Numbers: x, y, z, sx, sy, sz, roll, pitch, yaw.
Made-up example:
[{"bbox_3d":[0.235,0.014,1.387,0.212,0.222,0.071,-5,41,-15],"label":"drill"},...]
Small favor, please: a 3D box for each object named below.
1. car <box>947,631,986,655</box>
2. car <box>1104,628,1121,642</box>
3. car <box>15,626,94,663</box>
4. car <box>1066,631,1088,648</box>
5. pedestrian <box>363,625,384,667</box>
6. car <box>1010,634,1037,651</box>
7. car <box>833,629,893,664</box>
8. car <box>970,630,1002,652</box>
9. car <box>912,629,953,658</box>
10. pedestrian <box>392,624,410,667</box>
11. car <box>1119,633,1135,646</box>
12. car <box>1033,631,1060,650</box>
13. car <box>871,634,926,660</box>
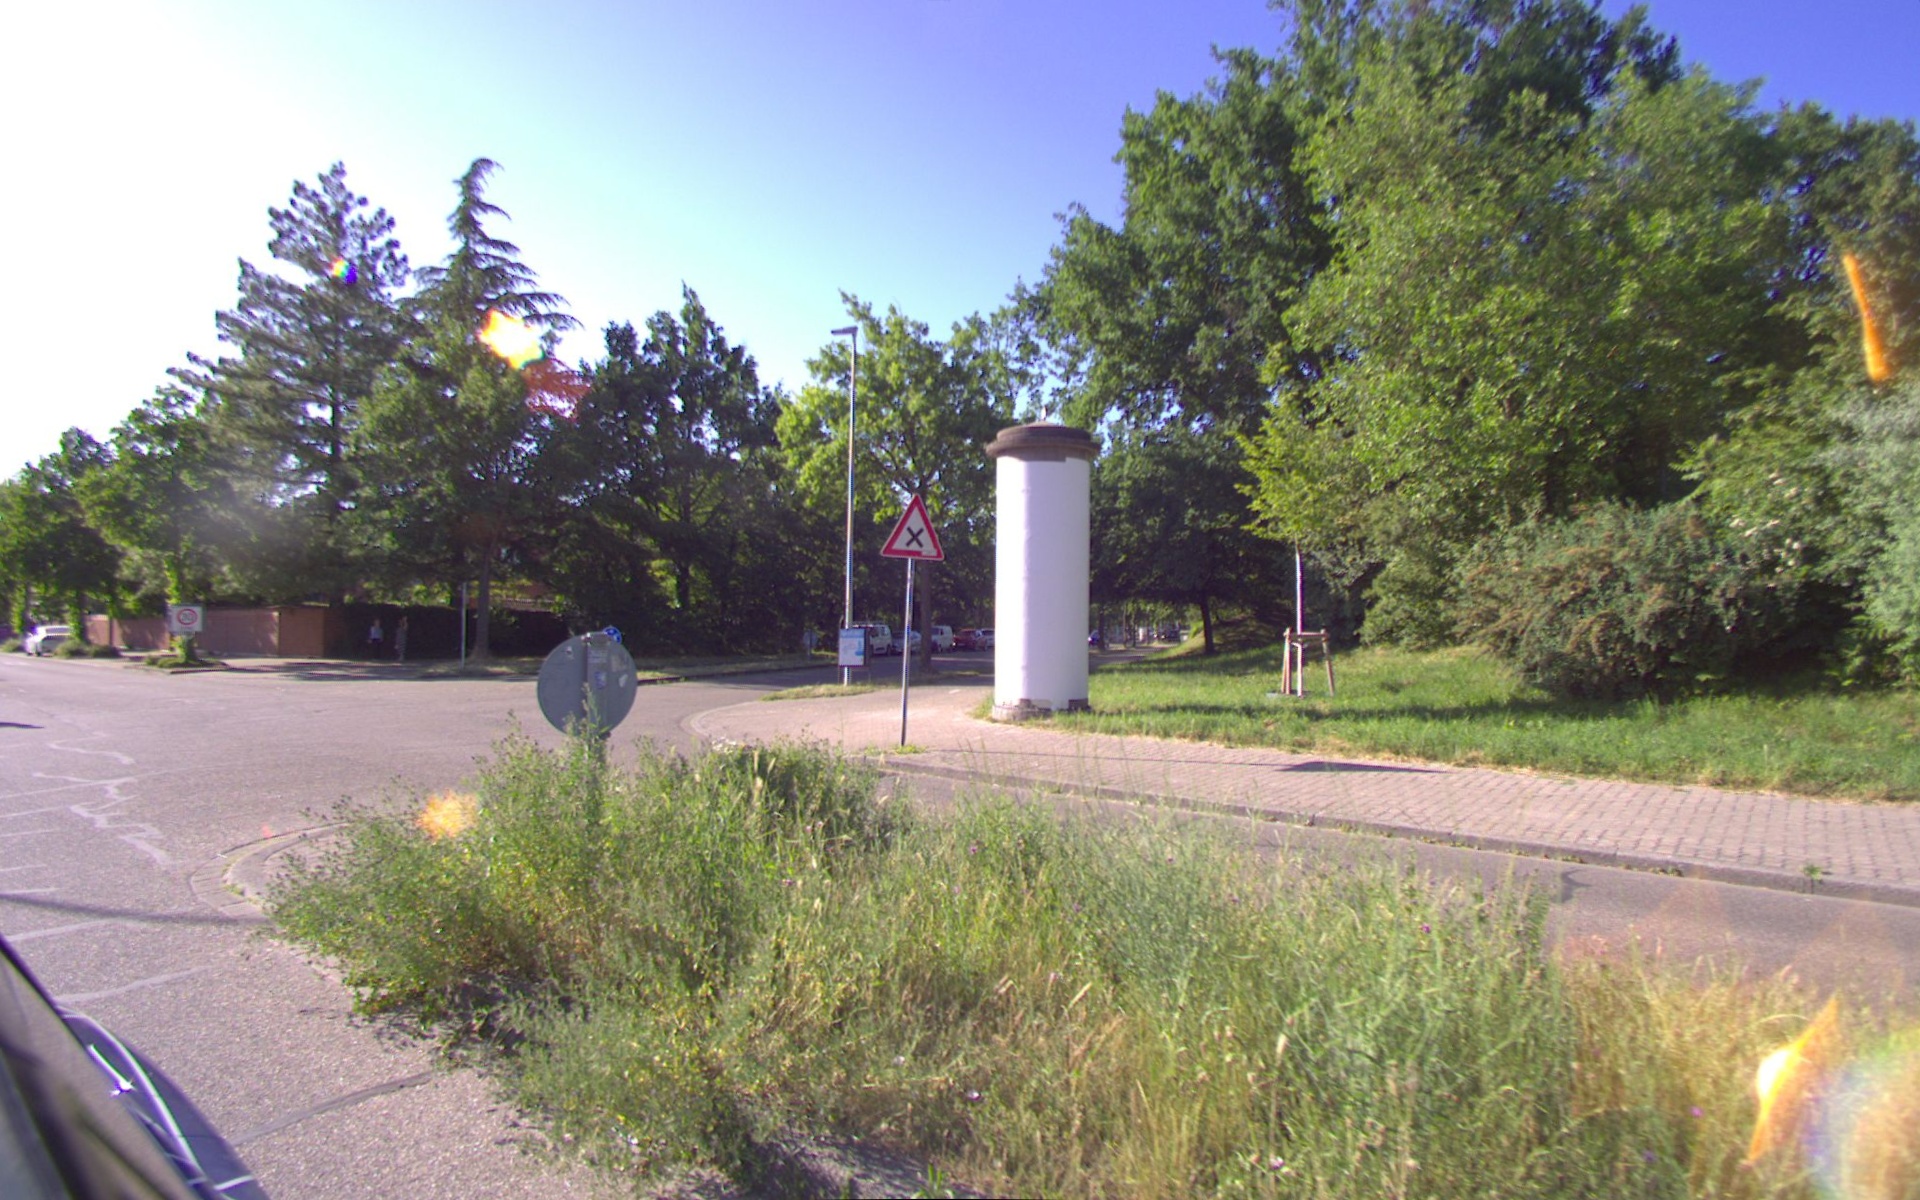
[{"bbox_3d":[0.481,3.054,71.608,1.758,1.651,3.732,-1,-2,17],"label":"car"},{"bbox_3d":[18.846,4.299,124.711,1.412,1.666,3.884,-1,-2,19],"label":"car"},{"bbox_3d":[-43.635,2.118,48.729,3.991,1.671,1.976,-1,-2,35],"label":"car"},{"bbox_3d":[11.811,3.946,101.811,1.439,1.666,3.695,-1,-2,19],"label":"car"},{"bbox_3d":[-21.883,1.706,37.780,0.392,1.532,0.536,0,-2,16],"label":"pedestrian"},{"bbox_3d":[5.498,3.645,87.392,1.489,1.369,3.444,-1,-2,19],"label":"car"},{"bbox_3d":[-5.120,2.437,53.907,1.739,1.762,4.612,-1,-2,14],"label":"car"},{"bbox_3d":[2.021,3.129,77.230,1.488,1.651,3.732,-1,-2,17],"label":"car"},{"bbox_3d":[-1.753,2.776,64.605,1.488,1.768,3.780,-1,-2,17],"label":"car"},{"bbox_3d":[-21.084,1.709,38.181,0.538,1.573,0.390,0,-2,43],"label":"pedestrian"},{"bbox_3d":[22.714,5.343,137.699,1.412,1.666,3.884,-1,-2,19],"label":"car"},{"bbox_3d":[7.985,3.735,93.181,1.489,1.666,4.065,-1,-2,19],"label":"car"},{"bbox_3d":[-3.549,2.758,59.528,1.709,1.455,4.588,-2,-3,17],"label":"car"}]
